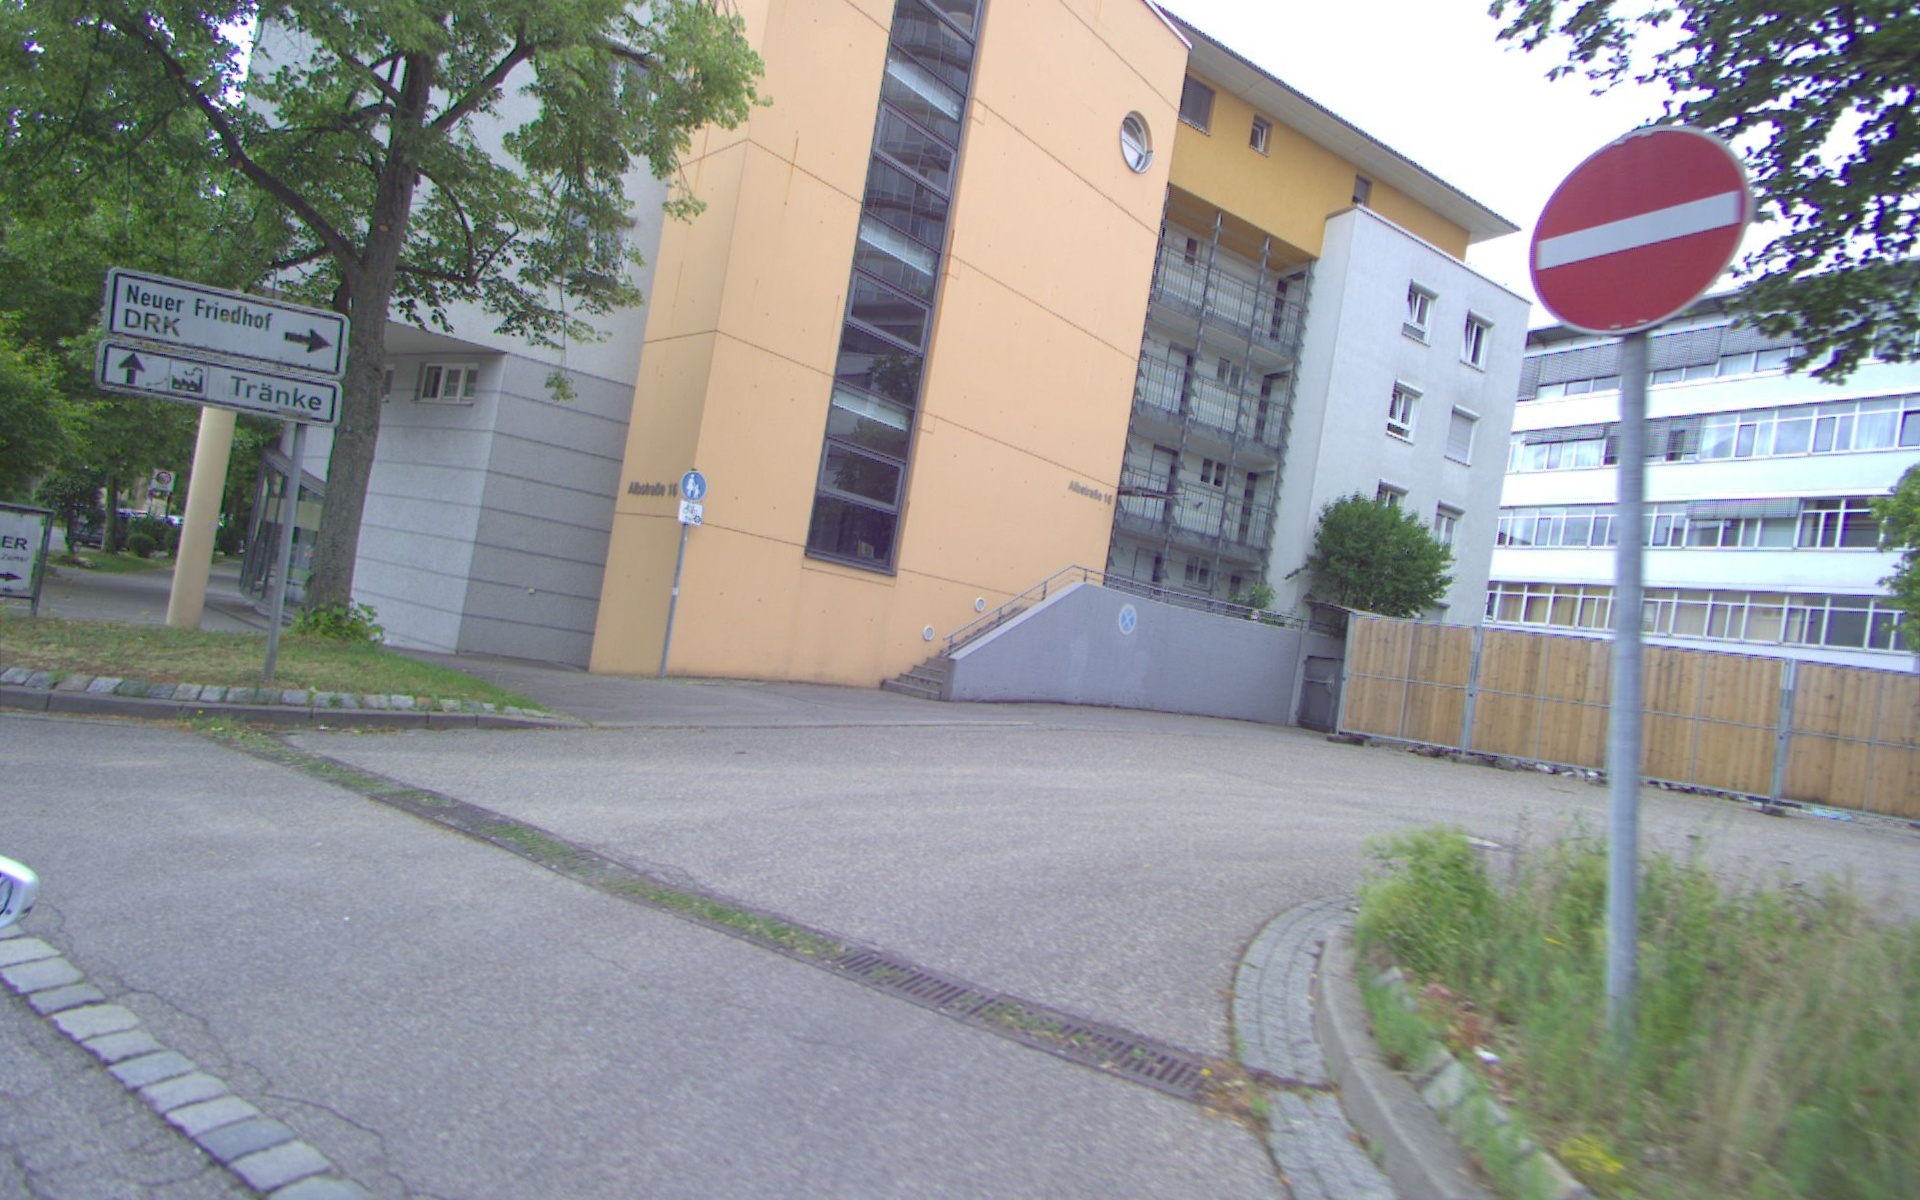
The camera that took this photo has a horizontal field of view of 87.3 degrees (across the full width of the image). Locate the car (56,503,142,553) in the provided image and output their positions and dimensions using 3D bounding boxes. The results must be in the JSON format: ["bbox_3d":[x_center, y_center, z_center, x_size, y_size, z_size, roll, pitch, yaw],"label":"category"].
[{"bbox_3d":[-36.438,-3.006,42.695,1.864,1.584,3.988,13,-5,-30],"label":"car"}]

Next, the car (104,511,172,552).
[{"bbox_3d":[-42.369,-3.489,51.953,1.767,1.614,4.218,11,-4,-29],"label":"car"}]
